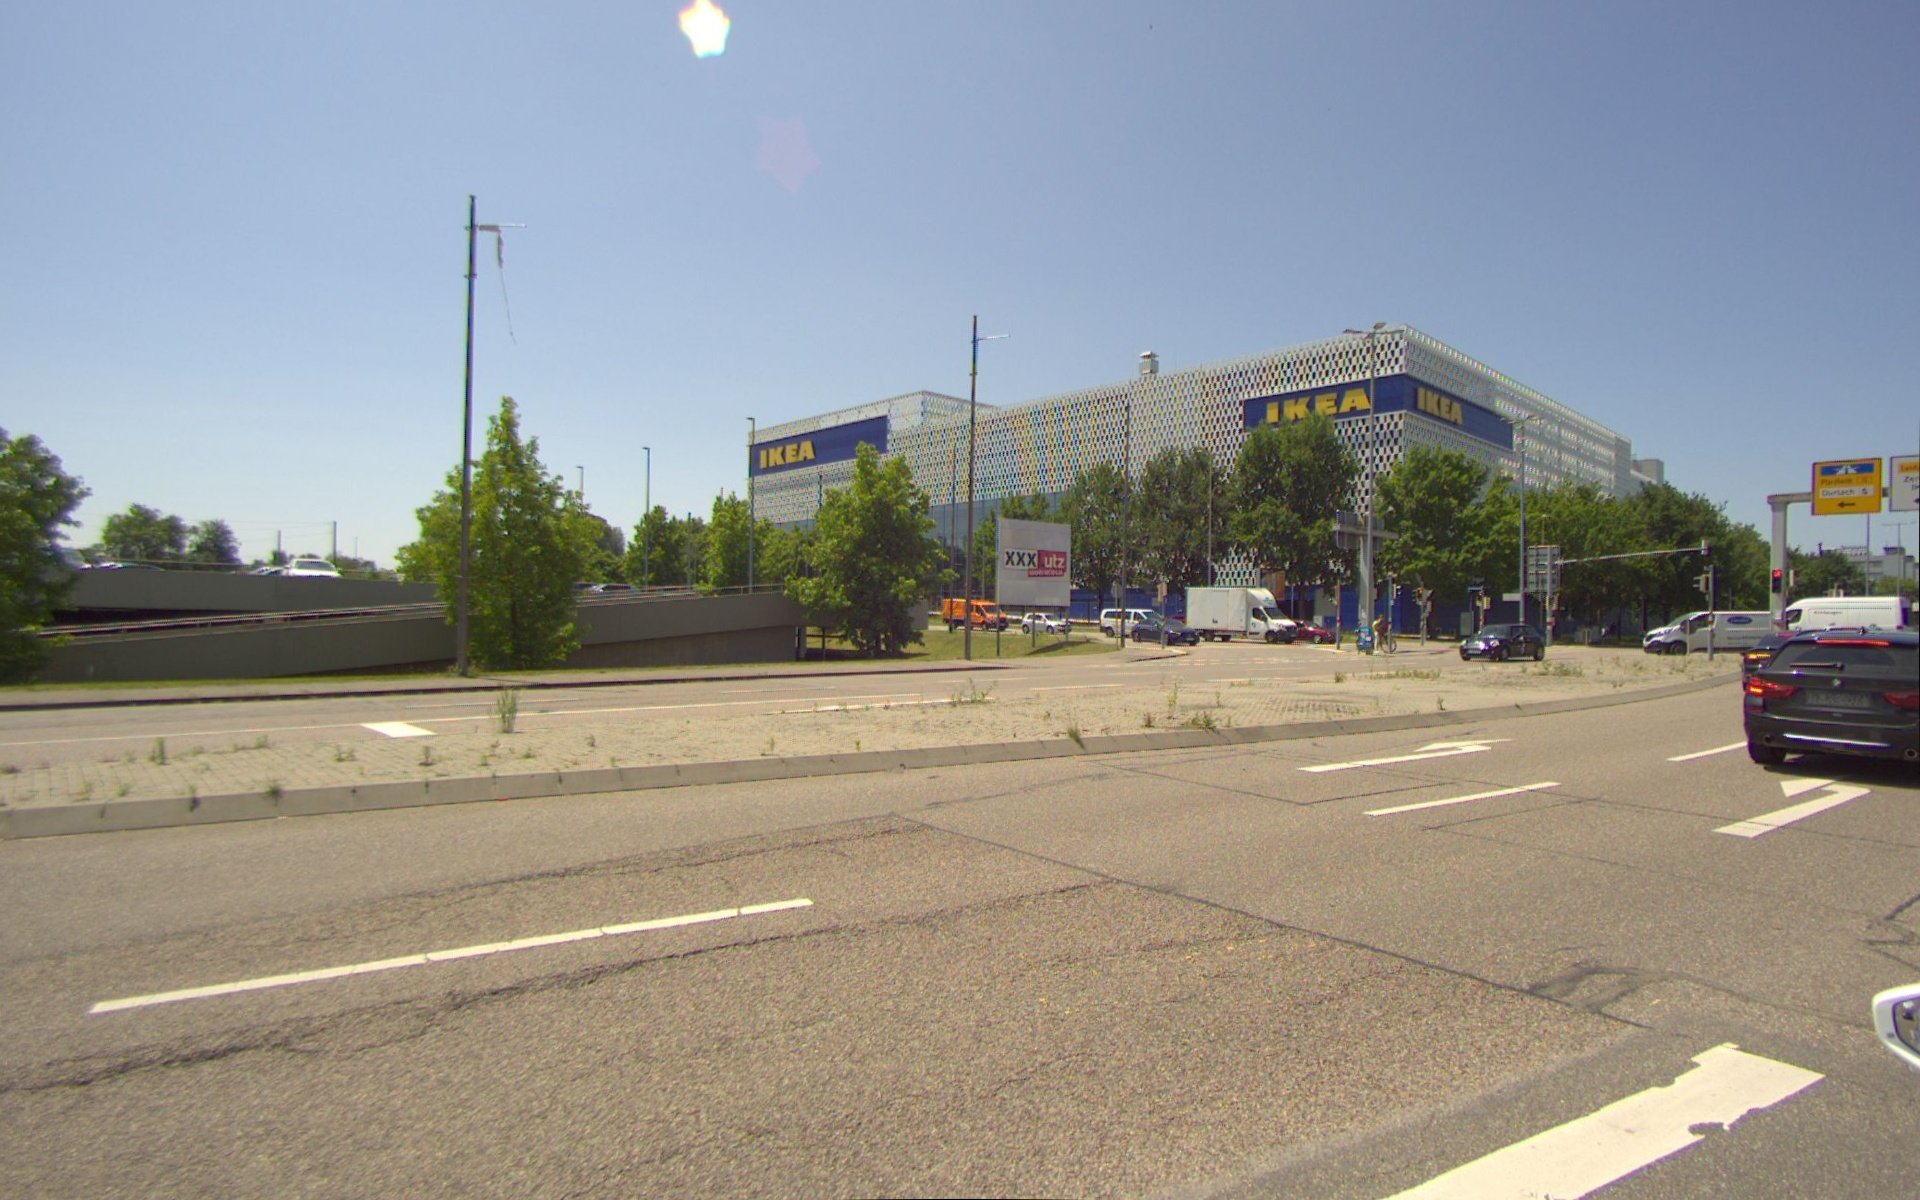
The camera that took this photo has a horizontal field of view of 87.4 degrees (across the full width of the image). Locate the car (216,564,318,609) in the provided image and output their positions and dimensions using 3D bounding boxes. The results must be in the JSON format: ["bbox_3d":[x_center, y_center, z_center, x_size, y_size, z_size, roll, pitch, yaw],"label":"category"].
[{"bbox_3d":[-34.683,-0.633,50.307,3.972,2.040,1.975,2,-2,-43],"label":"car"}]

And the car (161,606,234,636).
[{"bbox_3d":[-53.279,1.504,70.226,3.968,2.040,1.977,2,-2,-41],"label":"car"}]

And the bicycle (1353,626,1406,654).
[{"bbox_3d":[19.597,1.858,46.978,2.068,1.229,0.992,1,1,41],"label":"bicycle"}]

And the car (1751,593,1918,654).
[{"bbox_3d":[40.220,1.025,46.366,1.978,2.601,5.459,1,0,-32],"label":"car"}]

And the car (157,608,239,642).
[{"bbox_3d":[-47.365,1.557,62.442,3.966,2.040,1.977,2,-2,-39],"label":"car"}]

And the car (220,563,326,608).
[{"bbox_3d":[-33.227,-0.653,48.618,3.972,2.040,1.975,2,-2,-43],"label":"car"}]

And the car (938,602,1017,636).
[{"bbox_3d":[1.313,1.451,78.548,2.555,2.568,6.553,2,-1,-40],"label":"car"}]

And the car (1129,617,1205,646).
[{"bbox_3d":[11.368,1.720,55.367,1.913,1.528,3.963,1,-1,-34],"label":"car"}]

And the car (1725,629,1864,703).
[{"bbox_3d":[18.388,1.373,22.054,4.499,1.409,1.732,1,-1,-42],"label":"car"}]

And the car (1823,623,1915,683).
[{"bbox_3d":[25.673,1.434,28.478,1.777,1.514,3.981,1,0,40],"label":"car"}]

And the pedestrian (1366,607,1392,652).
[{"bbox_3d":[19.610,1.370,46.977,0.894,2.040,0.860,0,-1,41],"label":"pedestrian"}]

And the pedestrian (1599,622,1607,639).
[{"bbox_3d":[55.175,2.627,86.217,0.479,1.502,0.458,2,-1,-40],"label":"pedestrian"}]

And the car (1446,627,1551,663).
[{"bbox_3d":[20.885,1.719,38.932,3.847,1.320,1.847,1,-2,-30],"label":"car"}]

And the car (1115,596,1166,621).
[{"bbox_3d":[15.501,0.698,86.448,1.986,2.040,3.949,1,0,-43],"label":"car"}]

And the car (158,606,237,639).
[{"bbox_3d":[-49.241,1.461,64.876,3.968,2.040,1.977,2,-2,-40],"label":"car"}]

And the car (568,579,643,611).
[{"bbox_3d":[-22.136,-0.277,62.776,1.973,1.934,3.976,0,-1,44],"label":"car"}]

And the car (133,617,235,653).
[{"bbox_3d":[-38.931,1.743,50.446,3.967,1.751,1.977,2,-2,-40],"label":"car"}]

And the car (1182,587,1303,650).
[{"bbox_3d":[16.588,1.011,59.409,2.167,3.533,6.839,-1,1,-42],"label":"car"}]

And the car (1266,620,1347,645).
[{"bbox_3d":[20.423,1.920,59.334,1.763,1.360,4.244,0,0,-42],"label":"car"}]

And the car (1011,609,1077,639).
[{"bbox_3d":[6.043,1.708,72.469,1.985,2.040,4.657,2,-1,-41],"label":"car"}]

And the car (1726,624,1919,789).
[{"bbox_3d":[10.463,1.044,11.234,4.578,1.485,1.787,1,0,-36],"label":"car"}]

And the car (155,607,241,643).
[{"bbox_3d":[-44.879,1.492,59.203,3.966,2.040,1.978,2,-2,-39],"label":"car"}]

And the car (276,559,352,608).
[{"bbox_3d":[-25.761,-0.596,40.014,1.984,1.791,4.151,2,-2,-40],"label":"car"}]

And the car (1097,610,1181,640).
[{"bbox_3d":[11.638,1.607,65.667,1.983,1.835,5.410,1,-1,-39],"label":"car"}]

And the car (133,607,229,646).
[{"bbox_3d":[-41.660,1.422,53.816,3.964,2.040,1.979,1,-1,-38],"label":"car"}]

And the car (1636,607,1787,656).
[{"bbox_3d":[31.760,1.303,42.624,4.746,1.875,1.836,1,0,22],"label":"car"}]
